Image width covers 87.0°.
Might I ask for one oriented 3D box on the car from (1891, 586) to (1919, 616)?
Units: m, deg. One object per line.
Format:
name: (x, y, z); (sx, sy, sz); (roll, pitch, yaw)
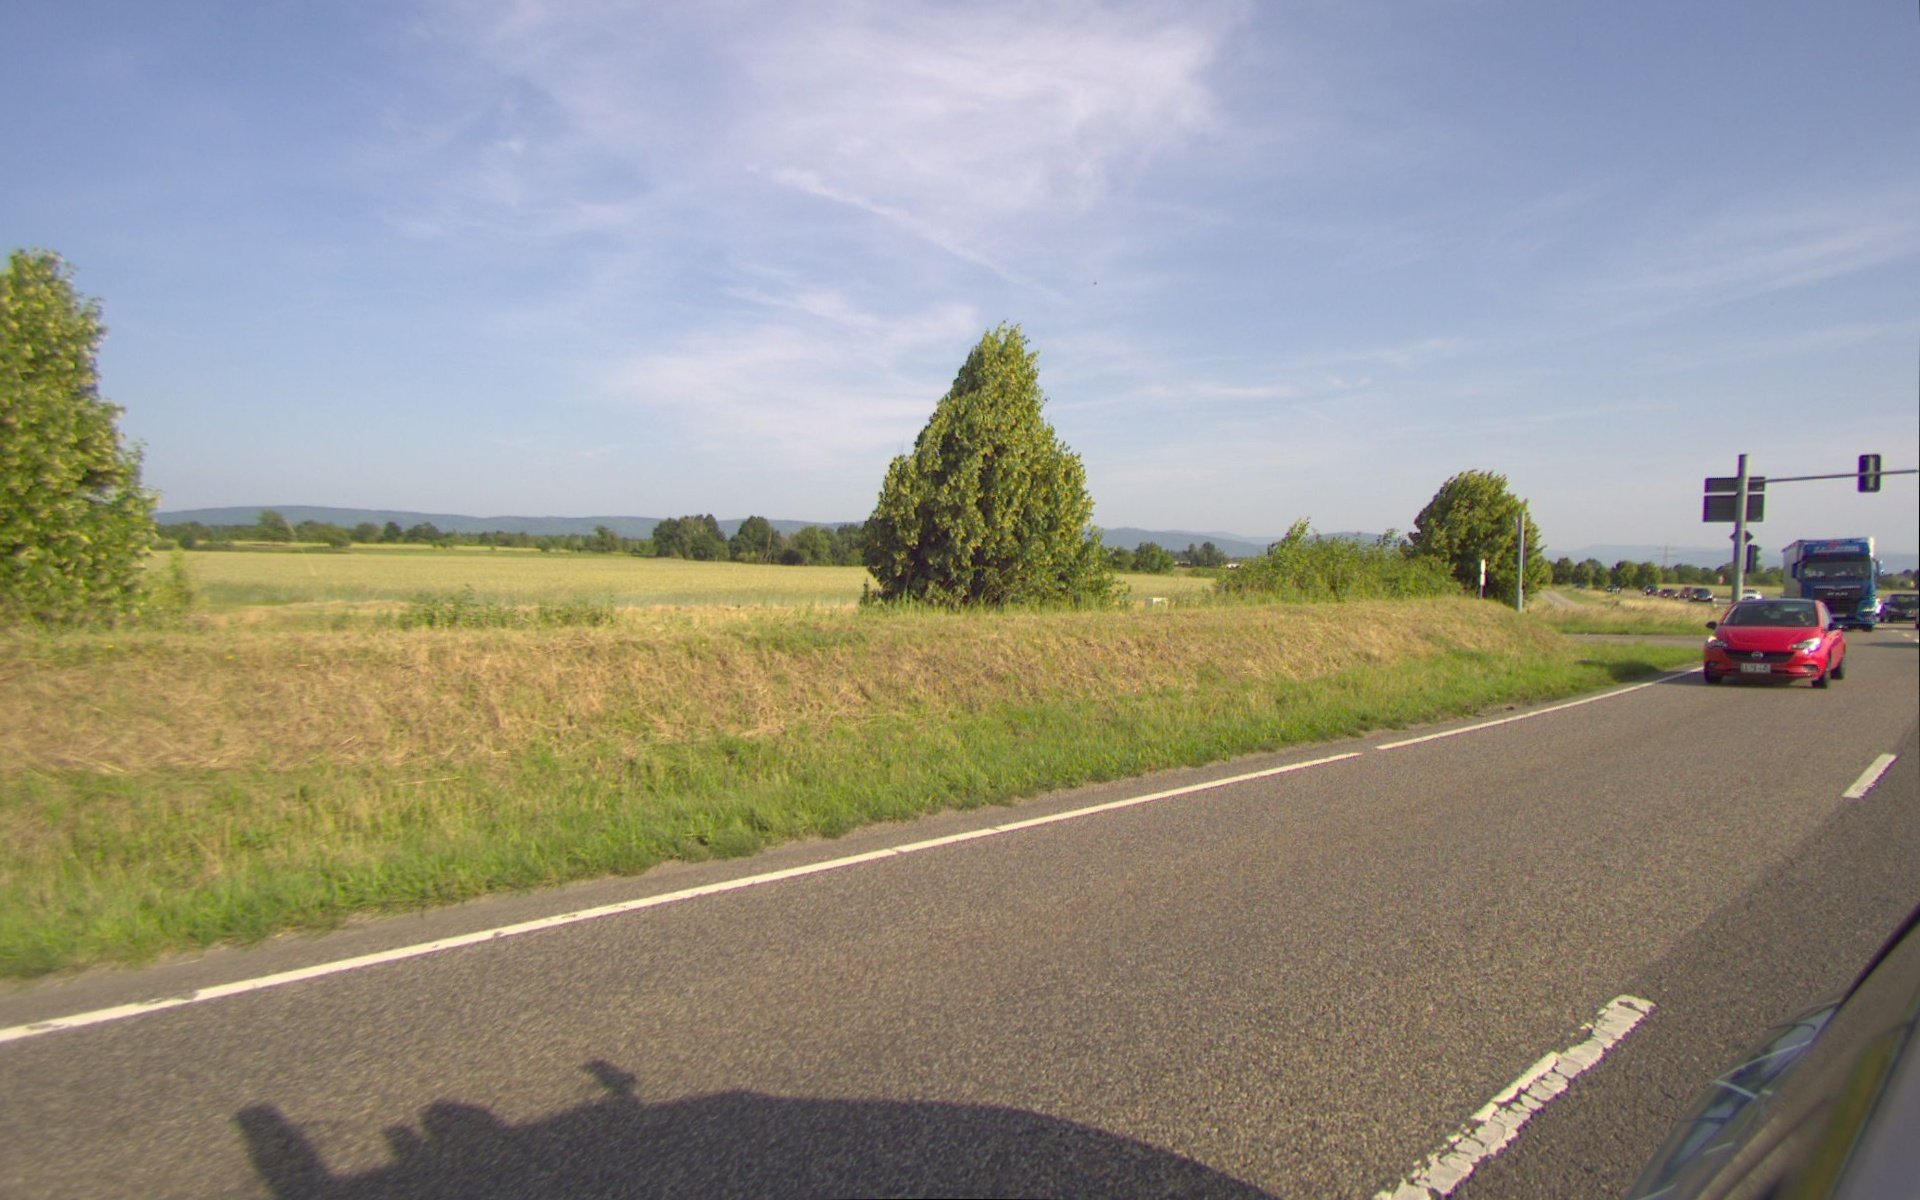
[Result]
car: (50.628, 0.046, 53.414); (1.822, 1.549, 3.946); (1, 1, 37)

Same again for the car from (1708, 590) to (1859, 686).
car: (14.649, 0.576, 17.934); (3.890, 1.482, 1.662); (-1, 1, -45)

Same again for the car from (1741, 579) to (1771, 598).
car: (81.777, -1.195, 103.994); (1.985, 1.905, 3.953); (1, 1, 33)

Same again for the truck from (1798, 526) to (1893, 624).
truck: (38.334, -1.058, 43.981); (2.638, 3.969, 5.871); (0, 0, 37)

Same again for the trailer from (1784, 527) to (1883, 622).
trailer: (42.343, -1.190, 49.410); (2.638, 4.029, 13.746); (0, 1, 37)

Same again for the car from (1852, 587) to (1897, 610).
car: (59.179, -0.139, 65.569); (1.685, 1.432, 3.949); (1, 1, 36)
